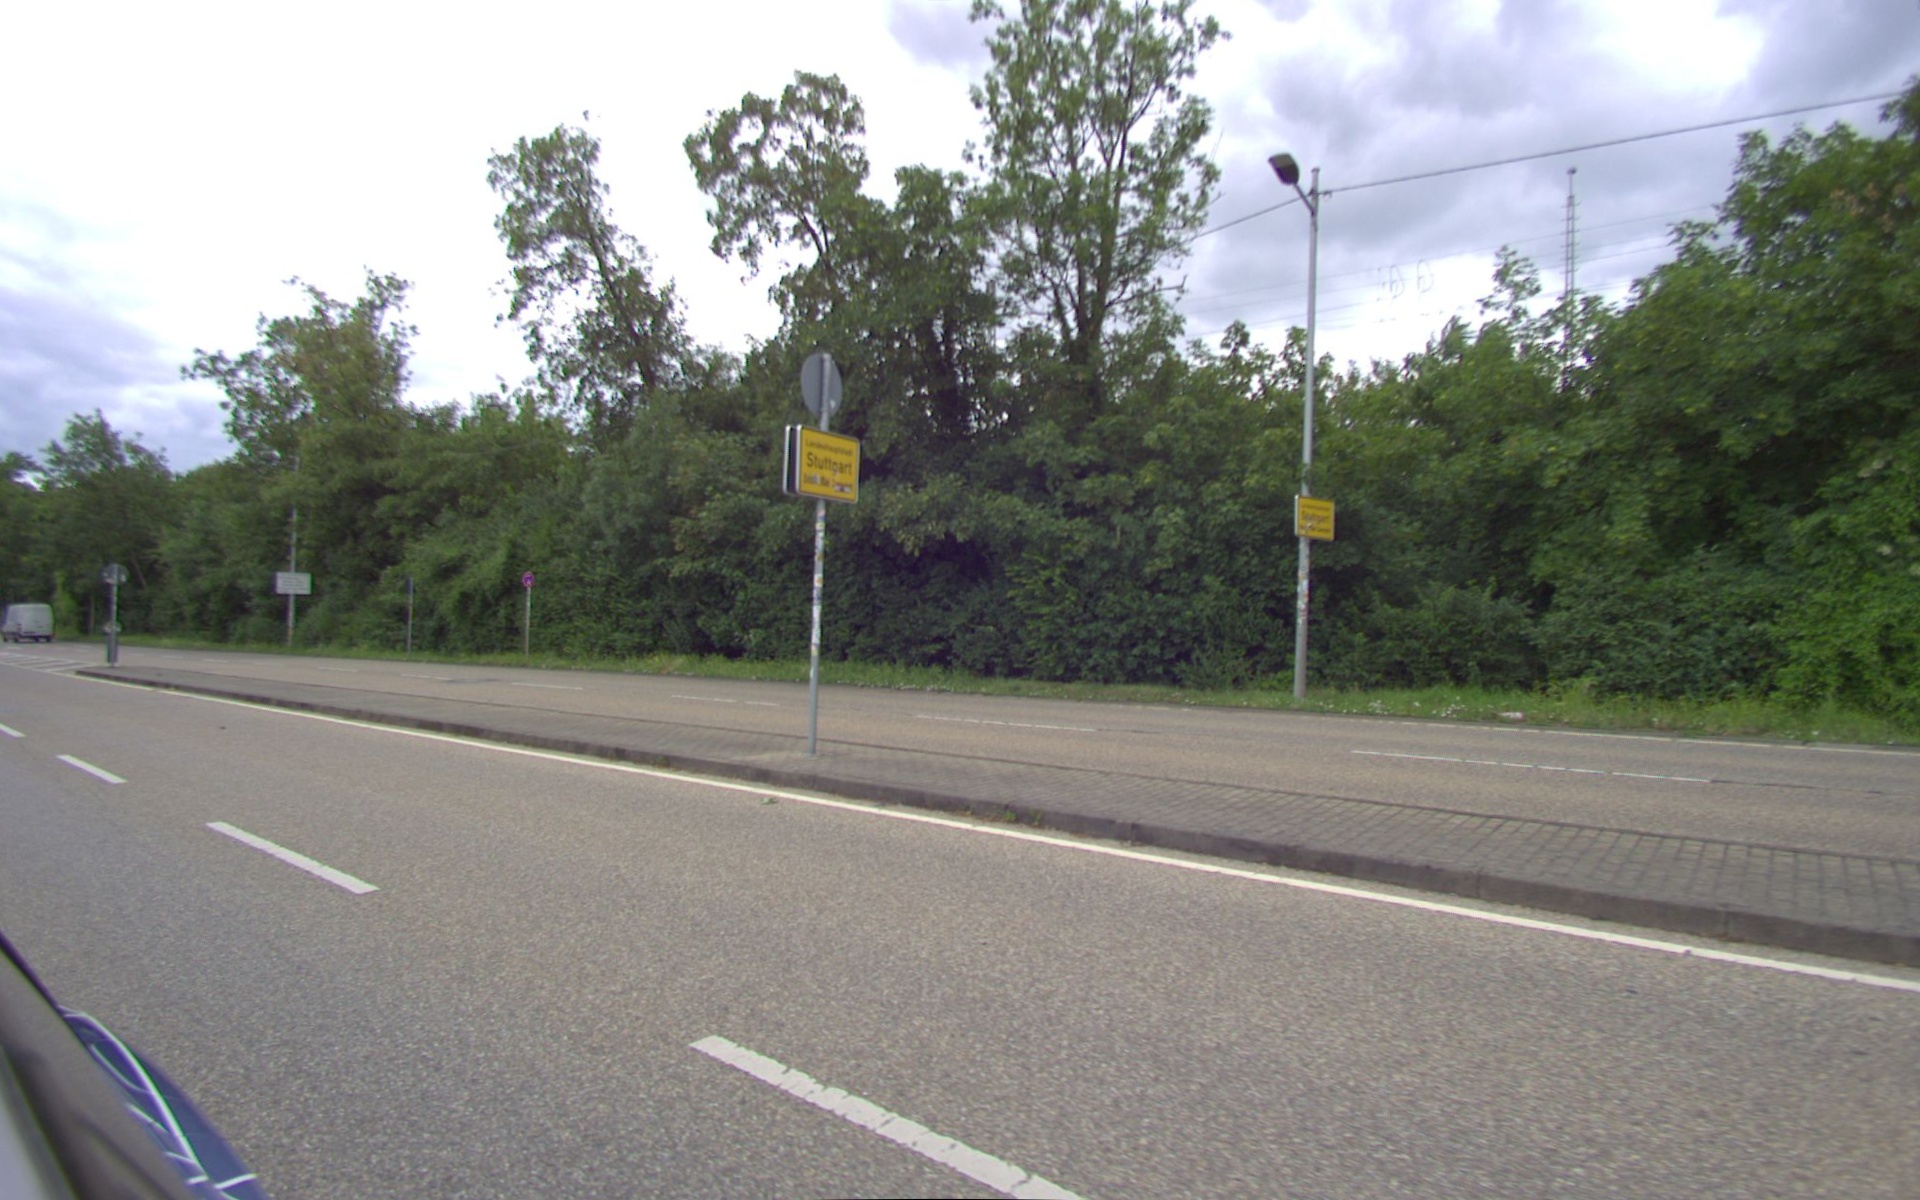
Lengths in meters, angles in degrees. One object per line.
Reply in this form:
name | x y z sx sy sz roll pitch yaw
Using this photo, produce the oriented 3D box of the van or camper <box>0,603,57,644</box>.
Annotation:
van or camper | -64.985 1.607 70.289 6.854 2.573 2.260 -1 3 40
